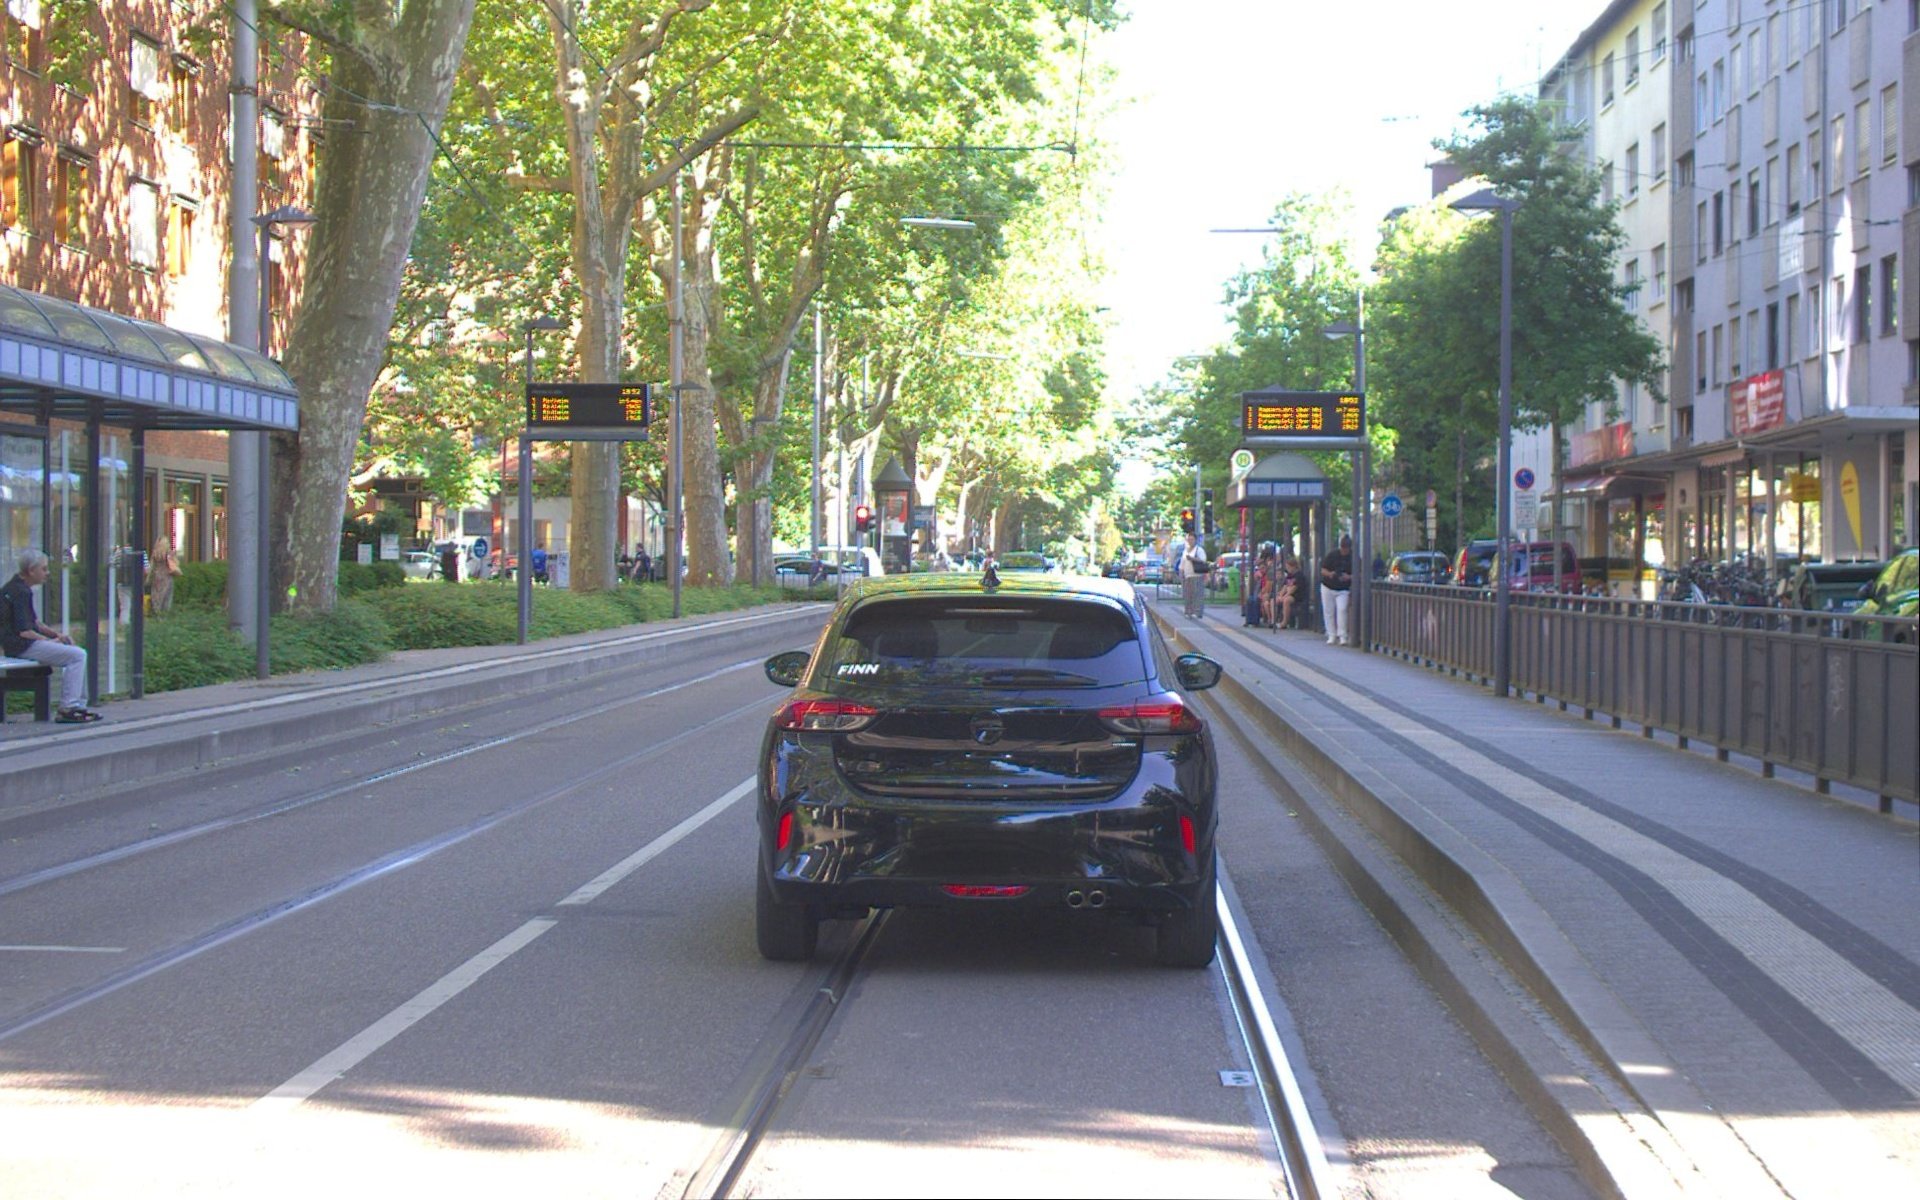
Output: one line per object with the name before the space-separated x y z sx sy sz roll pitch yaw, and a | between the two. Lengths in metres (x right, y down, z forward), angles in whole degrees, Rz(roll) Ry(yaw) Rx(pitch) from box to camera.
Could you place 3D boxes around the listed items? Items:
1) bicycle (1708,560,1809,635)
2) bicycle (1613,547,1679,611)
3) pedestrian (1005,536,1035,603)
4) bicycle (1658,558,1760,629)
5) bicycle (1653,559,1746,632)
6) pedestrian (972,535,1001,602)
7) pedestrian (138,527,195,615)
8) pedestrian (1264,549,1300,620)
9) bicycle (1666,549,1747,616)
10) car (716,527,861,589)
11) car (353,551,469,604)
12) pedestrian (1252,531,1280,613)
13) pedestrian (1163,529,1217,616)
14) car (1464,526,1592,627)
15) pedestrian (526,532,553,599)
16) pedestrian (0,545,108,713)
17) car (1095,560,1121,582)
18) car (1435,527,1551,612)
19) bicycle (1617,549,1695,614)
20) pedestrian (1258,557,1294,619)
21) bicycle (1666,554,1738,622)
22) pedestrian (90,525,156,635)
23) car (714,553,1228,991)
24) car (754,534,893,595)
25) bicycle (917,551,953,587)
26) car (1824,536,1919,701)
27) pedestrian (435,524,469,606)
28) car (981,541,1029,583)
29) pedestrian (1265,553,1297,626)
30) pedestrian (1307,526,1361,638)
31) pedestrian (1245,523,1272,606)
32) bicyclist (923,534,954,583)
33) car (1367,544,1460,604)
bicycle | 12.354 -0.049 53.249 0.621 1.132 2.440 1 0 -9
bicycle | 12.487 -0.388 62.615 0.597 1.132 2.204 1 0 -4
pedestrian | 1.817 -0.922 103.943 0.676 2.007 0.701 3 1 14
bicycle | 12.400 -0.111 56.993 0.611 1.132 2.922 1 0 -9
bicycle | 11.970 -0.081 55.713 0.602 1.132 2.435 1 0 -9
pedestrian | 0.806 -0.959 104.134 0.675 2.007 0.701 3 1 8
pedestrian | -14.772 -0.538 64.036 0.775 1.599 0.946 1 0 2
pedestrian | 5.672 -0.270 60.572 0.534 1.226 0.510 1 0 -2
bicycle | 13.065 -0.308 60.223 0.597 1.132 2.204 1 0 -9
car | -5.006 -1.222 100.078 4.113 1.695 1.884 1 0 -5
car | -21.933 -0.890 137.408 4.250 2.007 2.000 1 0 2
pedestrian | 6.480 -0.595 72.765 0.531 1.703 0.752 1 0 5
pedestrian | 4.604 -0.550 68.740 0.751 1.703 0.761 2 0 37
car | 11.501 -0.471 69.849 1.993 1.946 4.000 1 0 1
pedestrian | -12.451 -1.019 101.764 0.672 1.943 0.498 3 1 -1
pedestrian | -6.425 0.199 24.164 0.705 1.164 0.659 0 0 -1
car | 10.724 -2.101 249.498 1.745 1.539 4.000 1 0 1
car | 11.837 -0.669 76.576 1.993 1.791 4.000 1 0 1
bicycle | 12.395 -0.331 61.265 0.597 1.132 2.204 1 0 -9
pedestrian | 5.620 -0.213 61.145 0.534 1.096 0.551 1 0 -2
bicycle | 12.726 -0.219 59.014 0.410 1.132 2.204 1 0 -9
pedestrian | -12.841 -0.304 52.776 0.735 1.666 0.861 1 0 2
car | 0.040 0.582 13.670 1.760 1.503 3.683 0 0 0
car | -4.453 -1.142 111.936 4.384 1.845 2.000 1 0 -5
bicycle | -0.872 -1.079 122.172 0.955 1.236 2.977 1 0 5
car | 10.363 0.195 35.589 1.857 1.610 4.397 1 0 2
pedestrian | -12.187 -0.850 82.471 0.496 1.943 0.674 1 0 -40
car | 1.714 -1.428 131.443 1.745 1.539 4.000 1 0 1
pedestrian | 5.769 -0.191 61.804 0.502 1.300 0.429 1 0 -2
pedestrian | 5.408 -0.267 49.736 0.631 1.571 0.870 3 1 2
pedestrian | 6.430 -0.767 74.005 0.531 1.757 0.661 1 0 5
bicyclist | -0.776 -1.482 123.067 0.941 1.697 1.152 1 0 5
car | 11.684 -0.669 88.731 1.994 1.481 4.000 1 0 2
